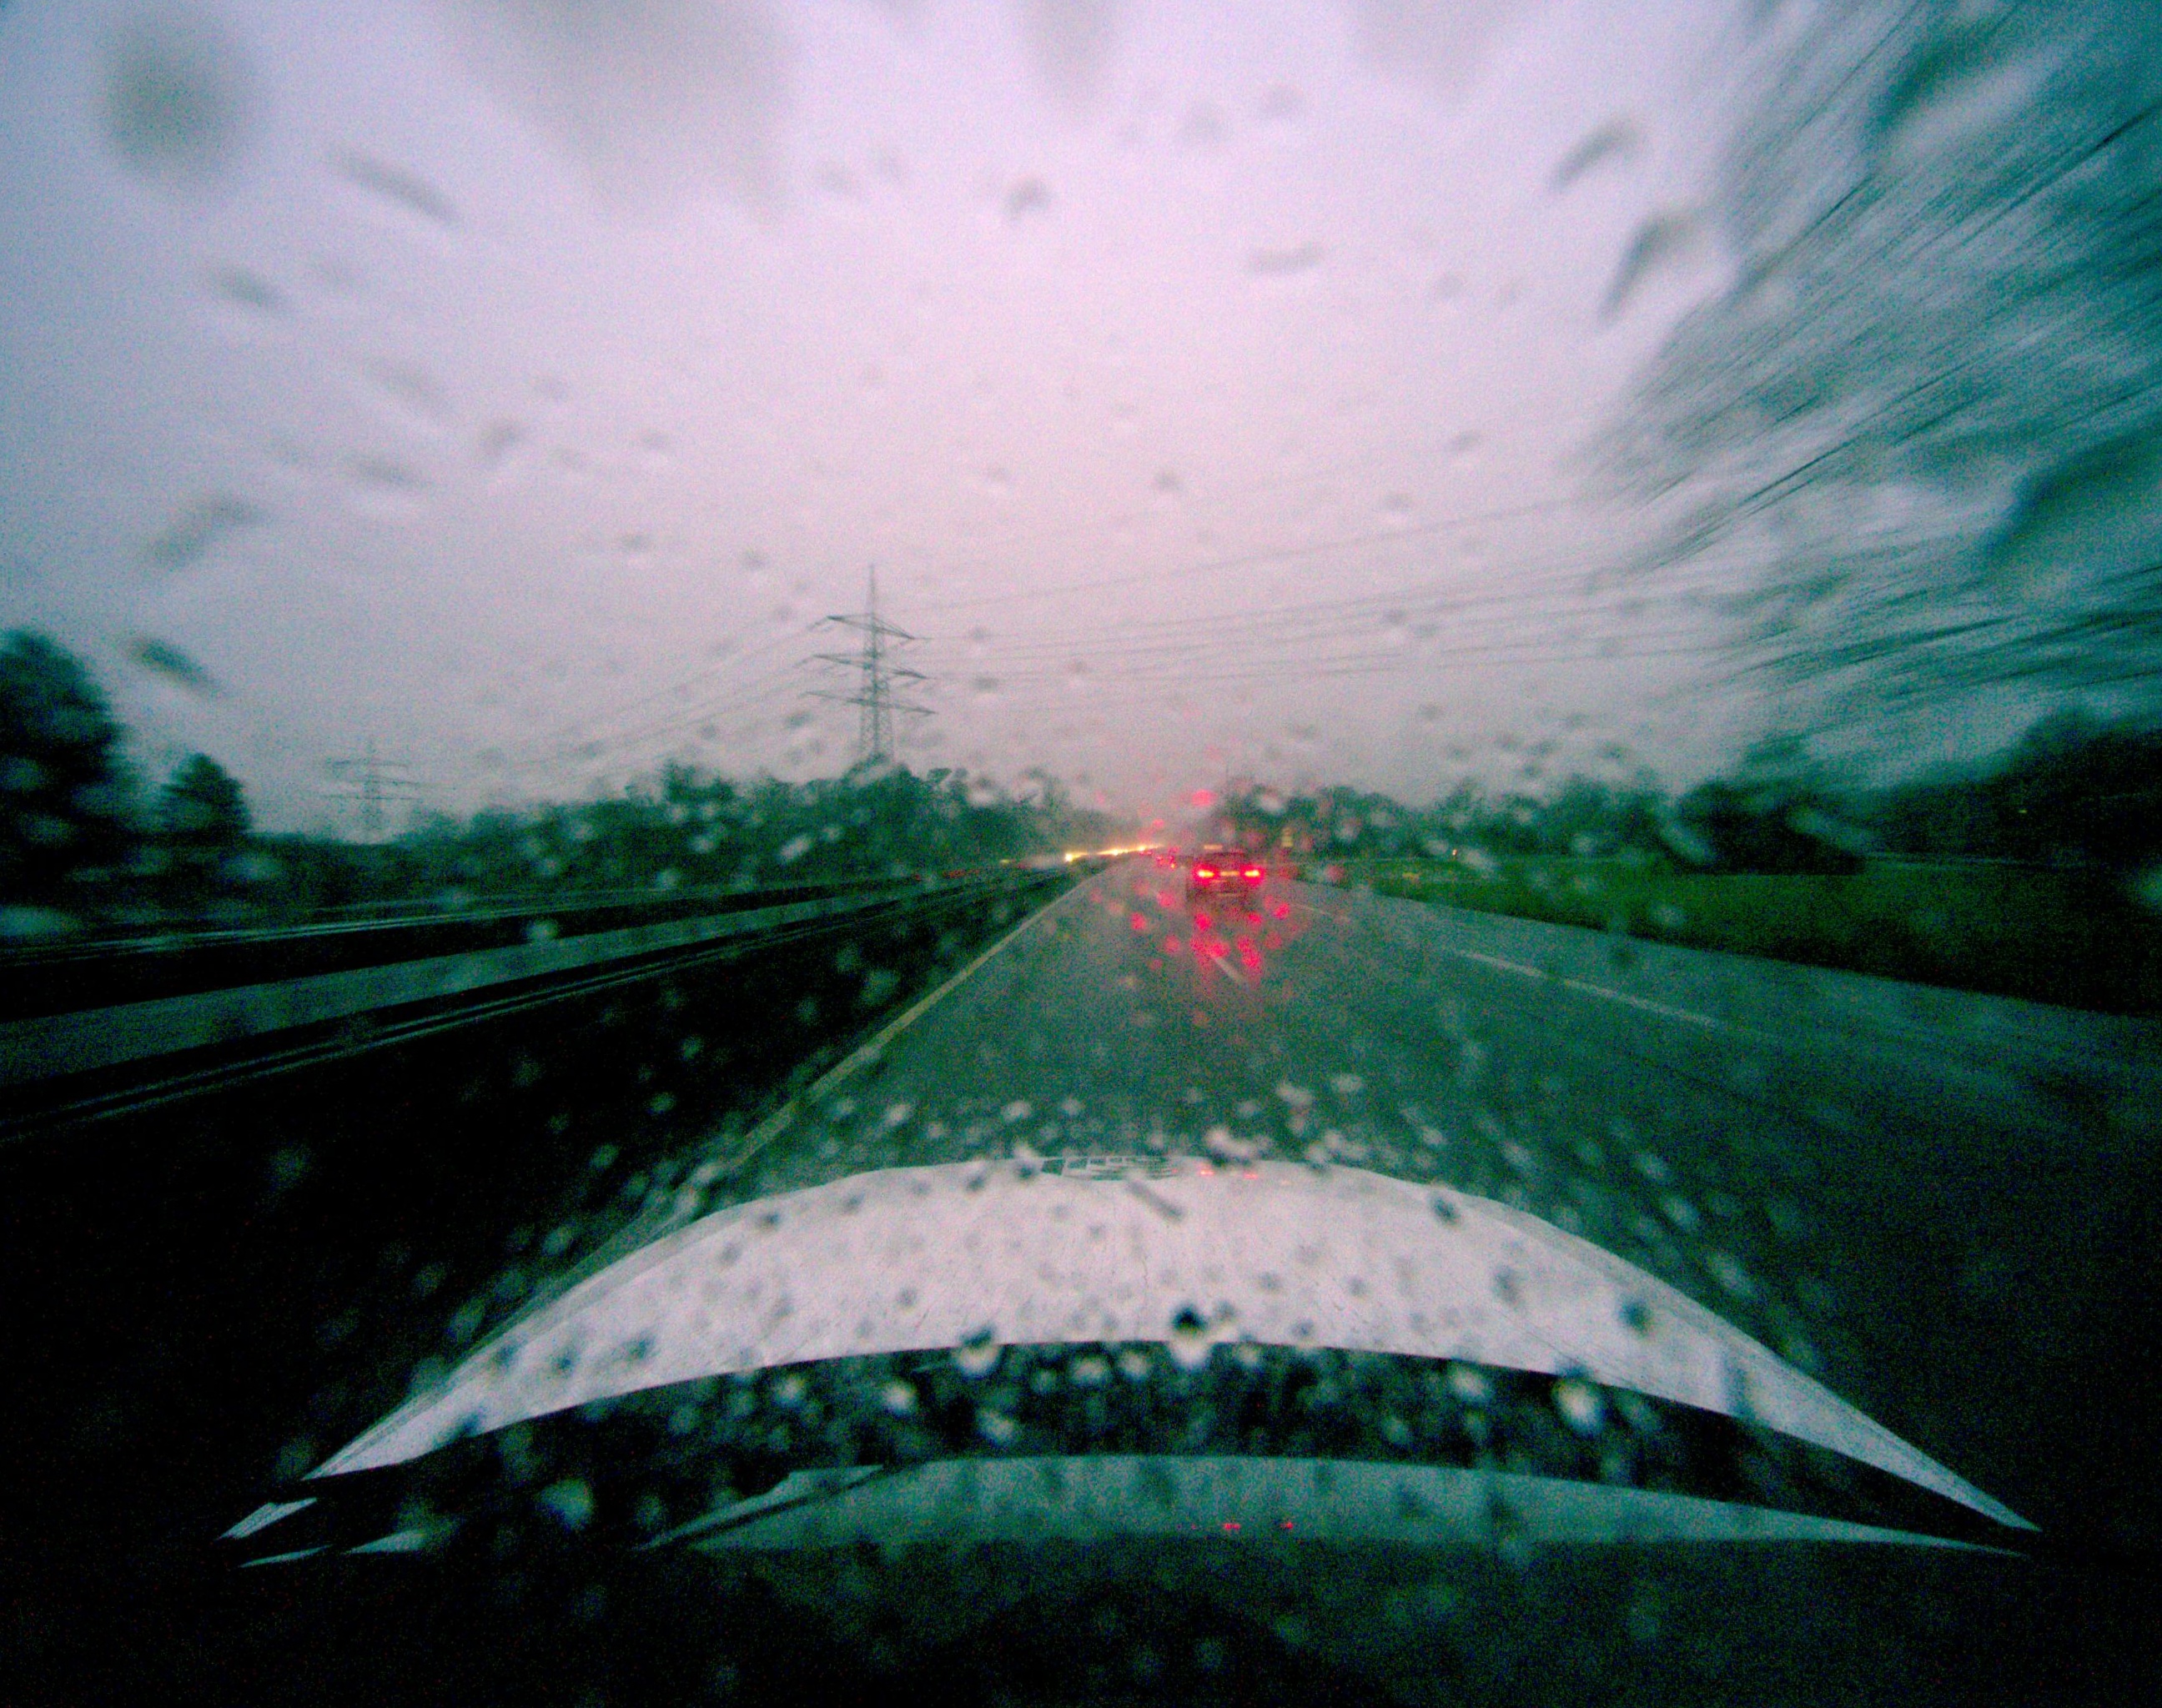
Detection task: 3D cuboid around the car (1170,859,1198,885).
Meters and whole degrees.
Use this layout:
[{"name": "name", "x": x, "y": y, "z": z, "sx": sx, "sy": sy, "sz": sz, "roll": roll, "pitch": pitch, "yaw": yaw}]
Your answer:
[{"name": "car", "x": 6.334, "y": 1.077, "z": 50.024, "sx": 1.586, "sy": 1.490, "sz": 3.601, "roll": -1, "pitch": 0, "yaw": 7}]

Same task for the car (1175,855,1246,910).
[{"name": "car", "x": 3.943, "y": 0.816, "z": 25.254, "sx": 1.672, "sy": 1.509, "sz": 3.810, "roll": -1, "pitch": 0, "yaw": 1}]
